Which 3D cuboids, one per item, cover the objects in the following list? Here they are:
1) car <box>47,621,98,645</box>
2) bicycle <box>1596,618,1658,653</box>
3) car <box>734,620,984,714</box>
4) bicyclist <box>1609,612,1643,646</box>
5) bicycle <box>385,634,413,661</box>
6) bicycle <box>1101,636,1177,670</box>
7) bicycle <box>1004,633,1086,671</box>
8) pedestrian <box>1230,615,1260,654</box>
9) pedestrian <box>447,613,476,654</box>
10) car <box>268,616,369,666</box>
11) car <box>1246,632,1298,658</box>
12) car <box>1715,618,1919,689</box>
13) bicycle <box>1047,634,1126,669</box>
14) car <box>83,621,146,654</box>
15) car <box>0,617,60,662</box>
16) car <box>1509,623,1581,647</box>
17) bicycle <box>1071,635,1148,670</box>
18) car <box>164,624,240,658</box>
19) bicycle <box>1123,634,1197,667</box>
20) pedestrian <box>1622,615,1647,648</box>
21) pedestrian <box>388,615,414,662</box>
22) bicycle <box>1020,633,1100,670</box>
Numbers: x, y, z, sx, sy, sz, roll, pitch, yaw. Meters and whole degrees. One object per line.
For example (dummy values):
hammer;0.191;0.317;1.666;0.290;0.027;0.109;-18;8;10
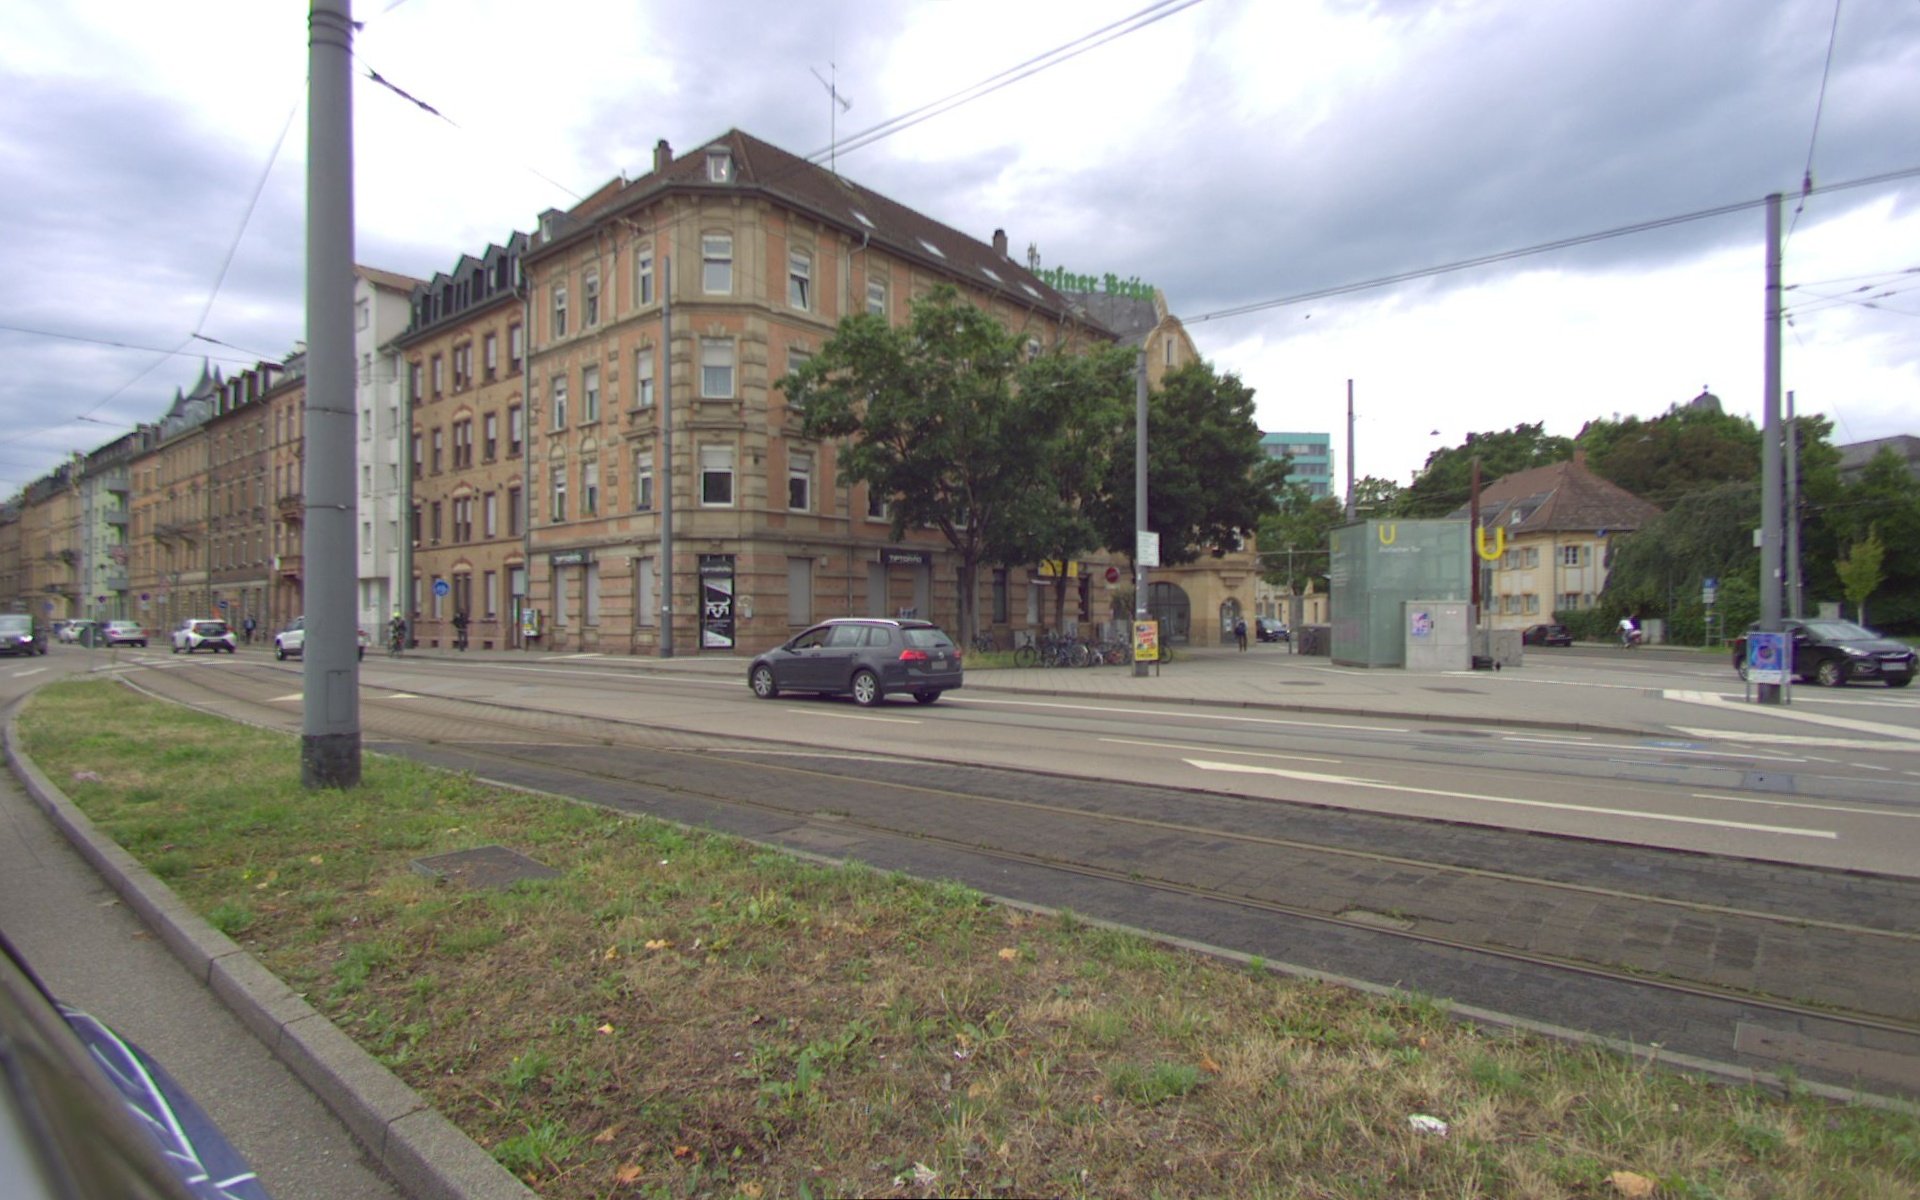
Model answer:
car;-57.732;2.147;65.823;4.570;1.521;1.796;-1;-1;39
bicycle;34.808;1.827;52.894;1.070;1.763;3.087;0;-1;-2
car;-1.896;1.113;18.128;4.459;1.481;1.865;-1;-1;39
bicyclist;34.801;1.509;52.900;1.077;1.796;1.017;0;-1;-2
bicycle;-21.770;1.840;39.261;0.733;0.976;2.118;1;-1;-34
bicycle;5.822;1.709;32.995;2.395;1.038;0.744;-1;-2;41
bicycle;2.471;1.500;29.696;2.395;1.038;0.826;-1;-2;41
pedestrian;13.920;1.681;49.457;1.083;1.911;1.139;-1;-2;34
pedestrian;-20.584;1.373;41.799;0.797;1.688;0.802;-1;-2;37
car;-22.888;1.428;36.084;4.226;1.658;1.812;-1;-1;39
car;22.466;3.234;73.084;2.133;1.727;4.923;1;-2;0
car;21.576;1.261;25.258;1.969;1.623;4.250;0;-1;-6
bicycle;3.867;1.565;31.134;2.395;1.038;0.744;-1;-2;41
car;-46.500;2.035;55.619;4.229;1.716;1.873;-1;-1;39
car;-38.635;1.589;41.405;5.131;1.768;2.340;-2;-2;44
car;35.716;2.129;61.871;1.971;1.442;4.001;0;-1;-2
bicycle;4.690;1.624;31.854;2.395;1.038;0.744;-1;-2;41
car;-33.668;1.780;44.910;4.013;1.442;1.792;-1;-1;39
bicycle;6.697;1.682;34.060;2.395;1.038;0.744;-1;-2;41
pedestrian;38.350;1.781;57.547;0.797;1.846;0.851;0;-1;-7
pedestrian;-21.637;1.490;39.143;0.799;1.785;0.800;1;-2;-35
bicycle;2.977;1.524;30.298;2.395;1.038;0.744;-1;-2;41
